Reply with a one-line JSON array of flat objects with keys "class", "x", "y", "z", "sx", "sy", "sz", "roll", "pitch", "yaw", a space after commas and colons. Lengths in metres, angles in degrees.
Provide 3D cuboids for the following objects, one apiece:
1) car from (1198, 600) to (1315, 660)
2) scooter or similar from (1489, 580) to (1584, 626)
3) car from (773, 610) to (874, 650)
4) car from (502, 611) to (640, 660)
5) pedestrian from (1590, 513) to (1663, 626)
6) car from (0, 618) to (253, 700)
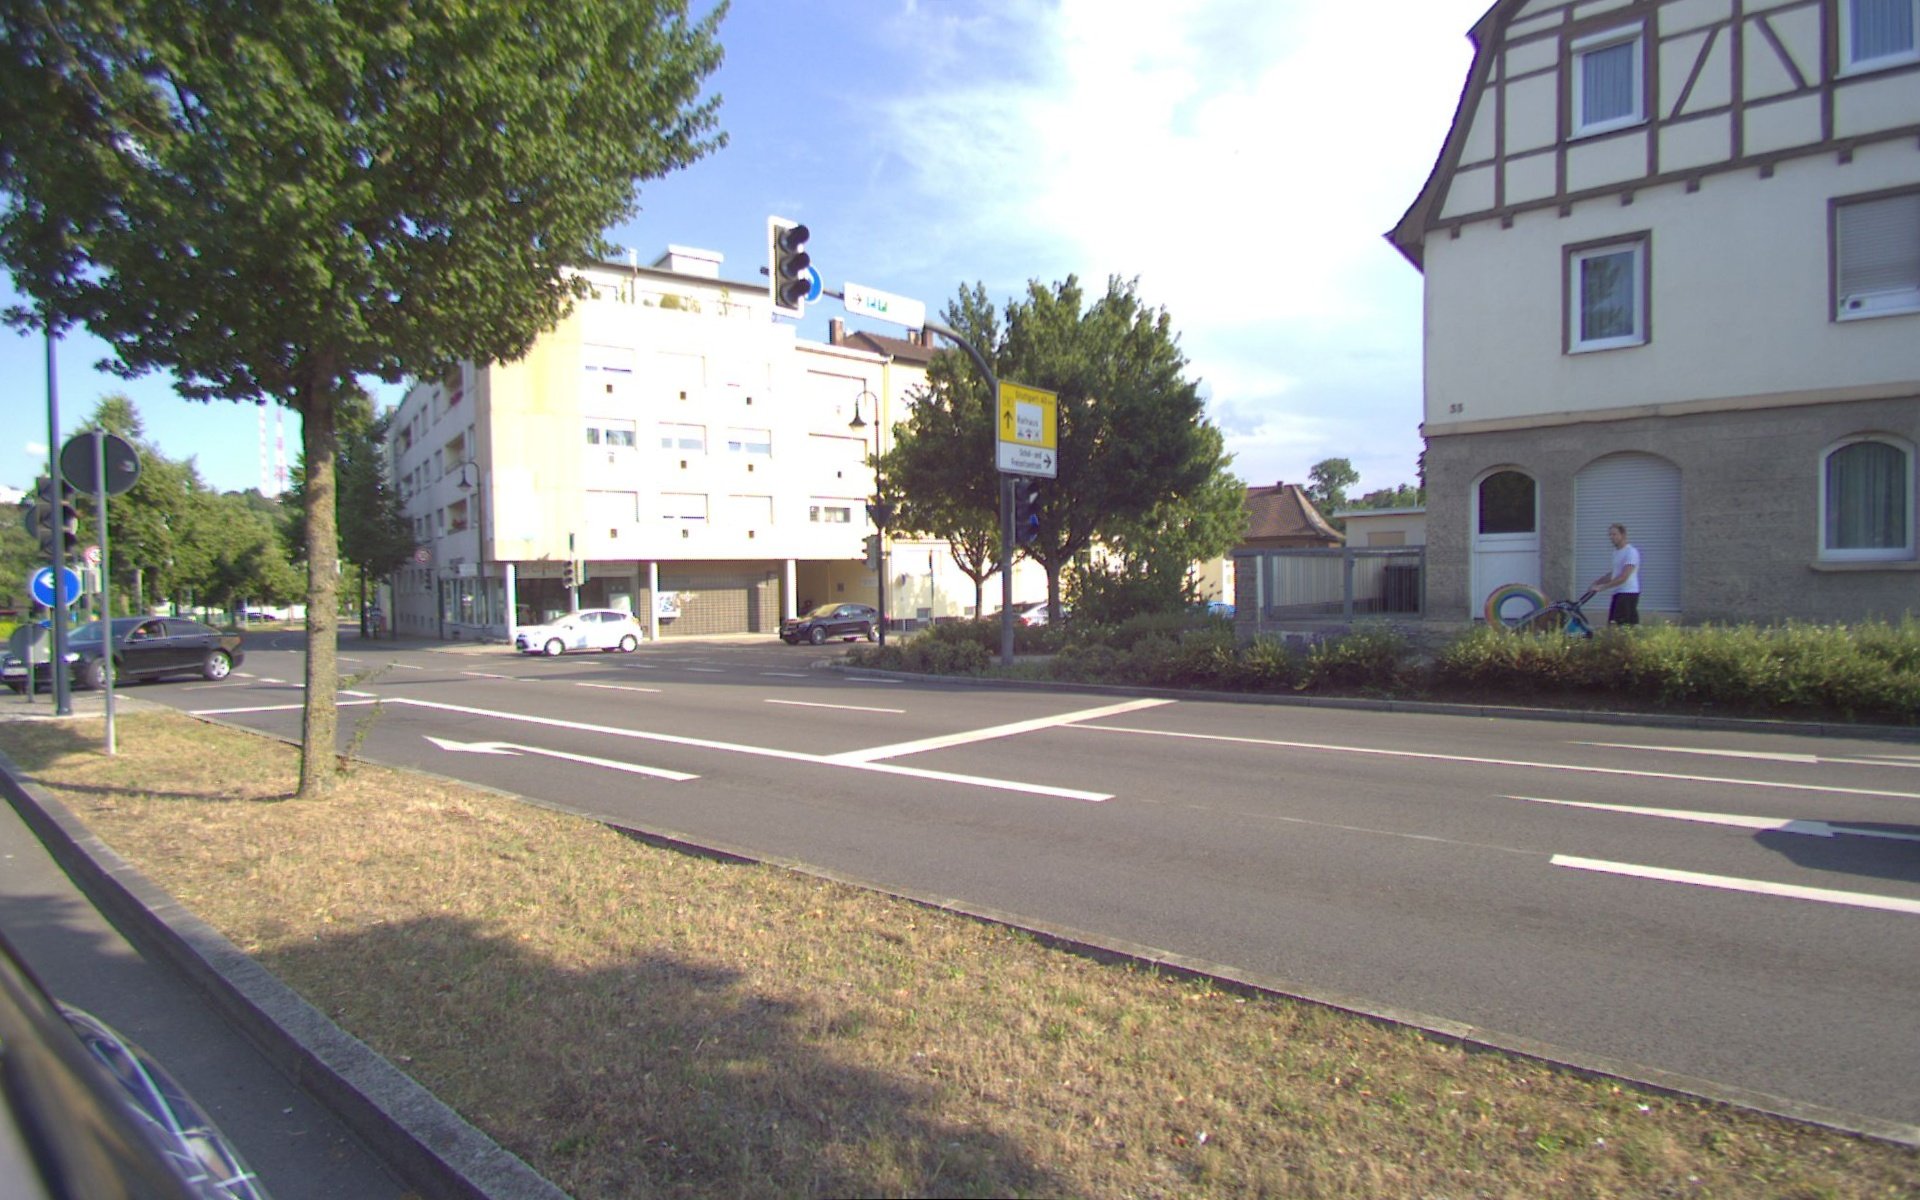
[{"class": "car", "x": 7.967, "y": 0.746, "z": 27.045, "sx": 1.562, "sy": 1.481, "sz": 3.561, "roll": 0, "pitch": 0, "yaw": 43}, {"class": "scooter or similar", "x": 7.700, "y": 0.047, "z": 13.527, "sx": 1.042, "sy": 0.586, "sz": 0.439, "roll": -1, "pitch": -1, "yaw": 39}, {"class": "car", "x": -5.242, "y": 1.111, "z": 39.067, "sx": 3.538, "sy": 1.447, "sz": 1.750, "roll": 0, "pitch": -1, "yaw": -44}, {"class": "car", "x": -12.573, "y": 1.110, "z": 32.834, "sx": 3.767, "sy": 1.447, "sz": 1.869, "roll": 0, "pitch": -1, "yaw": -43}, {"class": "pedestrian", "x": 8.694, "y": -0.379, "z": 13.204, "sx": 0.706, "sy": 1.405, "sz": 0.805, "roll": -1, "pitch": -1, "yaw": 38}, {"class": "car", "x": -17.326, "y": 1.116, "z": 20.819, "sx": 1.893, "sy": 1.447, "sz": 4.867, "roll": -1, "pitch": -1, "yaw": 5}]
